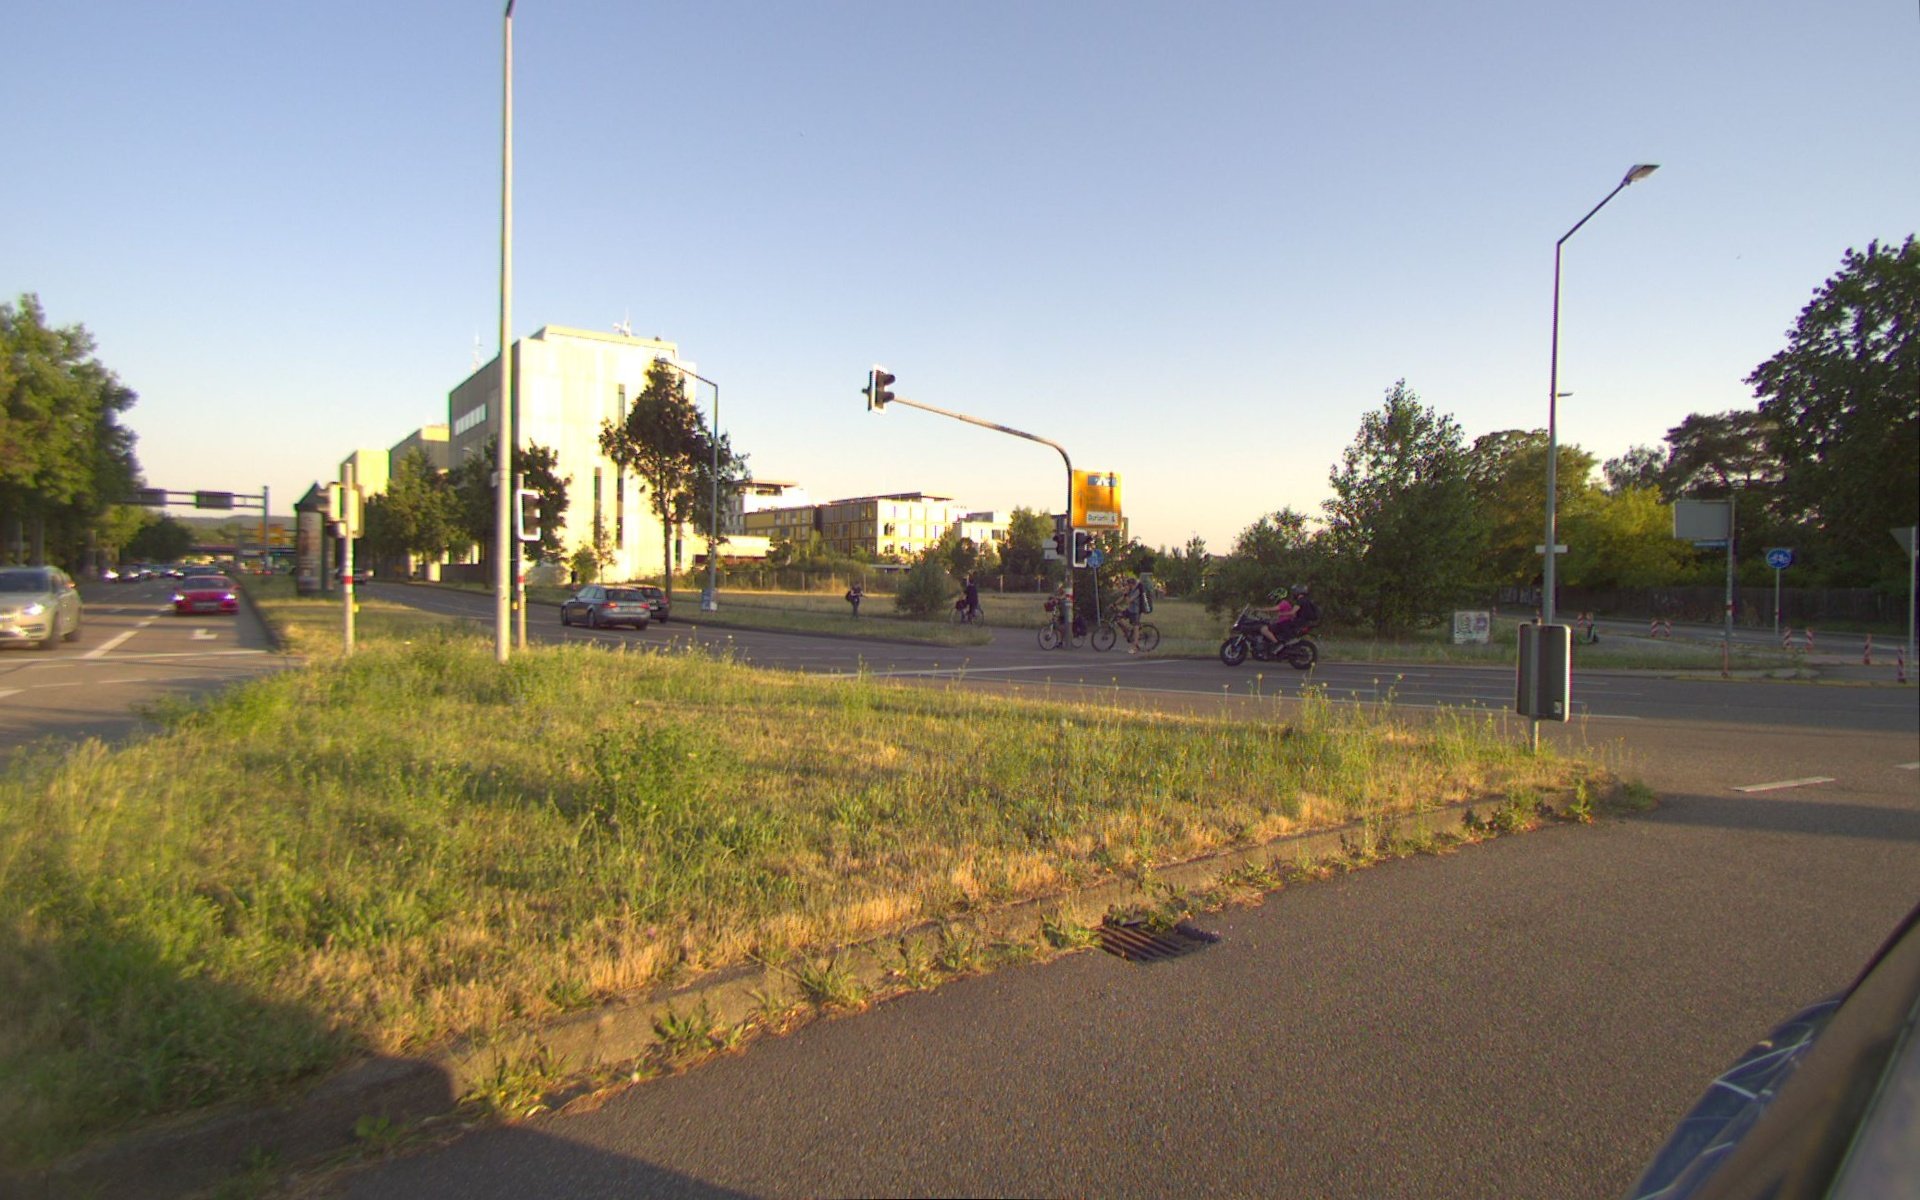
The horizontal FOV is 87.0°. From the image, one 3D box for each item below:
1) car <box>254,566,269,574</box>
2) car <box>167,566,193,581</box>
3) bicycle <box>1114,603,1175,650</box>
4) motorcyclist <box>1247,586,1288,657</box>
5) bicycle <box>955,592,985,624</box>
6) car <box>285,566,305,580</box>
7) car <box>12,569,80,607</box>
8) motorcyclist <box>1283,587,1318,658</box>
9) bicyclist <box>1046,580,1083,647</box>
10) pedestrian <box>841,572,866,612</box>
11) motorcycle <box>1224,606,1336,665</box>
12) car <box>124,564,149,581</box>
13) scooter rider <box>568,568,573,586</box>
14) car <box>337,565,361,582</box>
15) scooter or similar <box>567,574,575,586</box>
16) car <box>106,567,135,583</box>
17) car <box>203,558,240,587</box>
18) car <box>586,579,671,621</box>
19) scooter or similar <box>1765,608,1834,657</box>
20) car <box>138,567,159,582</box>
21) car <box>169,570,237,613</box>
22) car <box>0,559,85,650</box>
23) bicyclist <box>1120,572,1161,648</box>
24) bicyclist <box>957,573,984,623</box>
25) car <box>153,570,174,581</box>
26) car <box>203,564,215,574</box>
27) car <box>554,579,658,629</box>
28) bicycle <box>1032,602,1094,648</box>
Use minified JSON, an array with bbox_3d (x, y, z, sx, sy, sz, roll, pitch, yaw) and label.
[{"bbox_3d":[-128.010,-5.498,185.469,1.964,1.489,3.997,1,1,-39],"label":"car"},{"bbox_3d":[-74.706,-2.535,96.946,1.841,1.325,4.137,-1,2,-36],"label":"car"},{"bbox_3d":[4.820,0.669,26.311,1.894,1.098,0.456,-2,2,-40],"label":"bicycle"},{"bbox_3d":[6.423,0.433,21.140,0.708,1.434,0.682,1,1,27],"label":"motorcyclist"},{"bbox_3d":[0.358,0.278,36.075,0.275,1.102,1.372,1,1,-37],"label":"bicycle"},{"bbox_3d":[-82.073,-3.332,124.835,1.785,1.544,4.133,1,1,-37],"label":"car"},{"bbox_3d":[-38.415,-0.532,42.607,1.695,1.502,3.632,-1,2,-36],"label":"car"},{"bbox_3d":[7.008,0.453,20.837,0.588,1.426,0.630,1,1,27],"label":"motorcyclist"},{"bbox_3d":[2.797,0.351,27.195,0.757,1.722,0.640,-3,3,-40],"label":"bicyclist"},{"bbox_3d":[-4.155,-0.313,39.430,0.782,1.569,0.567,0,1,-37],"label":"pedestrian"},{"bbox_3d":[6.633,0.721,21.035,2.141,1.115,0.552,1,1,29],"label":"motorcycle"},{"bbox_3d":[-76.251,-2.564,93.761,1.589,1.537,3.716,-1,2,-36],"label":"car"},{"bbox_3d":[-29.836,-1.784,77.579,0.260,1.356,0.406,1,1,-37],"label":"scooter rider"},{"bbox_3d":[-54.529,-2.420,90.359,1.716,1.442,4.140,1,1,-29],"label":"car"},{"bbox_3d":[-29.845,-1.514,77.616,0.242,0.925,1.039,1,1,-37],"label":"scooter or similar"},{"bbox_3d":[-68.079,-2.041,82.098,1.589,1.325,3.716,-1,2,-36],"label":"car"},{"bbox_3d":[-43.544,-1.609,59.659,1.690,1.633,4.134,-1,1,-37],"label":"car"},{"bbox_3d":[-12.974,-0.022,39.509,1.771,1.482,3.995,1,1,-40],"label":"car"},{"bbox_3d":[21.215,0.815,25.585,1.356,1.177,0.442,1,1,-2],"label":"scooter or similar"},{"bbox_3d":[-86.646,-2.741,108.047,1.589,1.537,3.716,-1,2,-36],"label":"car"},{"bbox_3d":[-27.620,-0.333,37.040,1.810,1.479,4.581,1,0,-35],"label":"car"},{"bbox_3d":[-20.268,0.055,21.601,1.886,1.776,4.921,-1,1,-35],"label":"car"},{"bbox_3d":[4.684,0.239,26.229,0.894,1.921,0.640,-2,2,-40],"label":"bicyclist"},{"bbox_3d":[0.366,-0.087,36.121,0.527,1.765,0.843,1,1,-38],"label":"bicyclist"},{"bbox_3d":[-98.019,-3.074,124.589,1.841,1.325,4.137,-1,2,-36],"label":"car"},{"bbox_3d":[-120.375,-4.968,162.238,1.589,1.471,3.716,-1,2,-36],"label":"car"},{"bbox_3d":[-11.572,0.099,32.927,1.771,1.440,4.445,1,1,-39],"label":"car"},{"bbox_3d":[2.777,0.649,27.195,1.894,1.098,0.456,-3,3,-40],"label":"bicycle"}]
